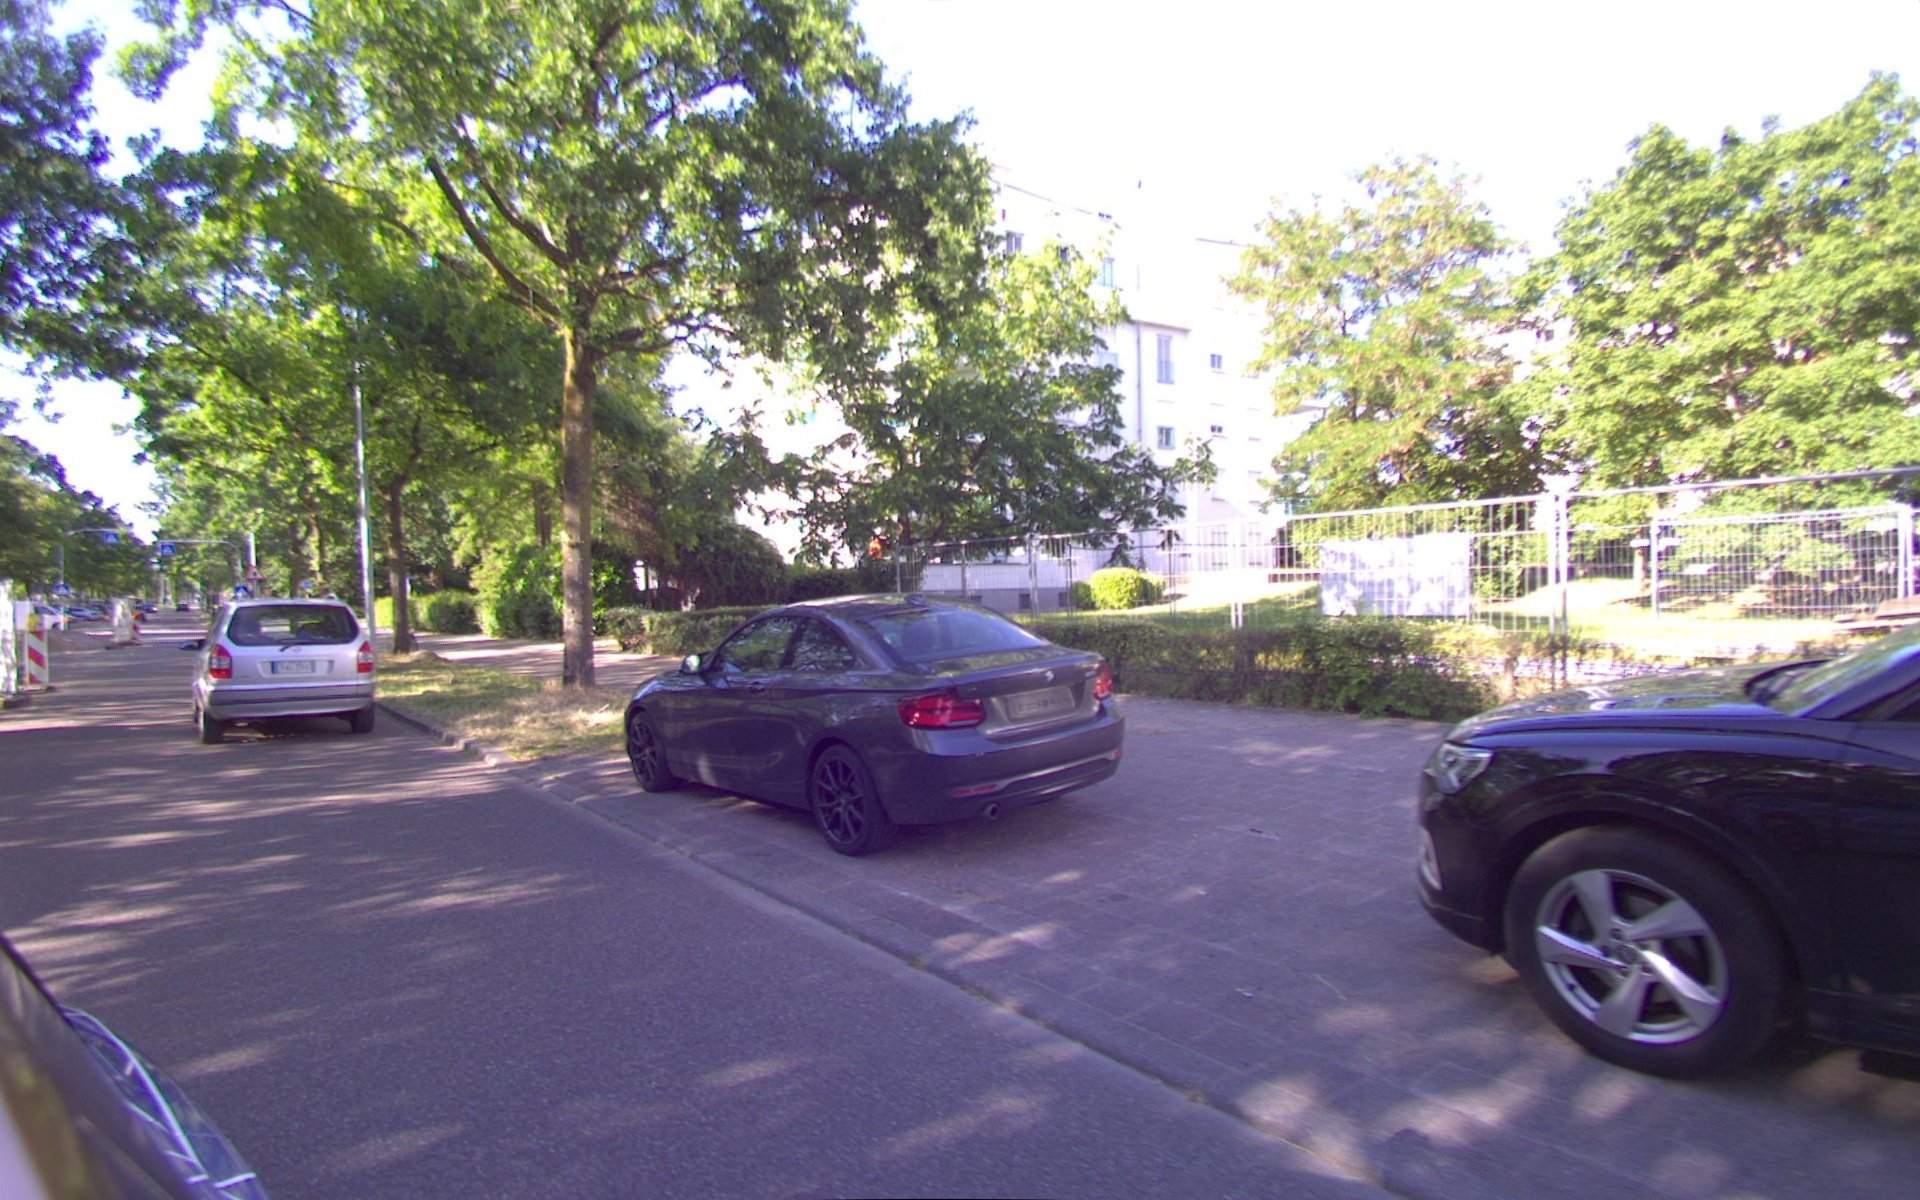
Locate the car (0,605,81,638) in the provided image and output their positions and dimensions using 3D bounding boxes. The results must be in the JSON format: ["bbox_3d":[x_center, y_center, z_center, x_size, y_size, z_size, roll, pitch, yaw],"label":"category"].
[{"bbox_3d":[-61.012,1.396,66.250,5.189,2.020,2.004,-1,-1,-39],"label":"car"}]

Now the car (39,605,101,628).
[{"bbox_3d":[-81.020,1.464,92.190,4.181,2.020,1.568,-1,-1,-42],"label":"car"}]

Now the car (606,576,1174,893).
[{"bbox_3d":[-0.759,0.662,6.954,1.695,1.443,4.143,-4,2,-41],"label":"car"}]

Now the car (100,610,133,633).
[{"bbox_3d":[-73.461,1.875,88.208,1.967,1.896,4.009,0,0,-37],"label":"car"}]

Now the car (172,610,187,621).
[{"bbox_3d":[-138.235,2.806,179.253,1.967,1.829,4.010,-3,1,-35],"label":"car"}]

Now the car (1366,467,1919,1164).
[{"bbox_3d":[3.381,0.449,2.279,1.753,1.633,4.229,-4,2,-37],"label":"car"}]

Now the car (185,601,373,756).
[{"bbox_3d":[-8.590,0.835,12.626,1.638,1.608,4.016,0,-1,-38],"label":"car"}]

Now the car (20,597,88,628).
[{"bbox_3d":[-78.355,1.049,87.593,4.346,2.565,1.891,0,-1,-42],"label":"car"}]
